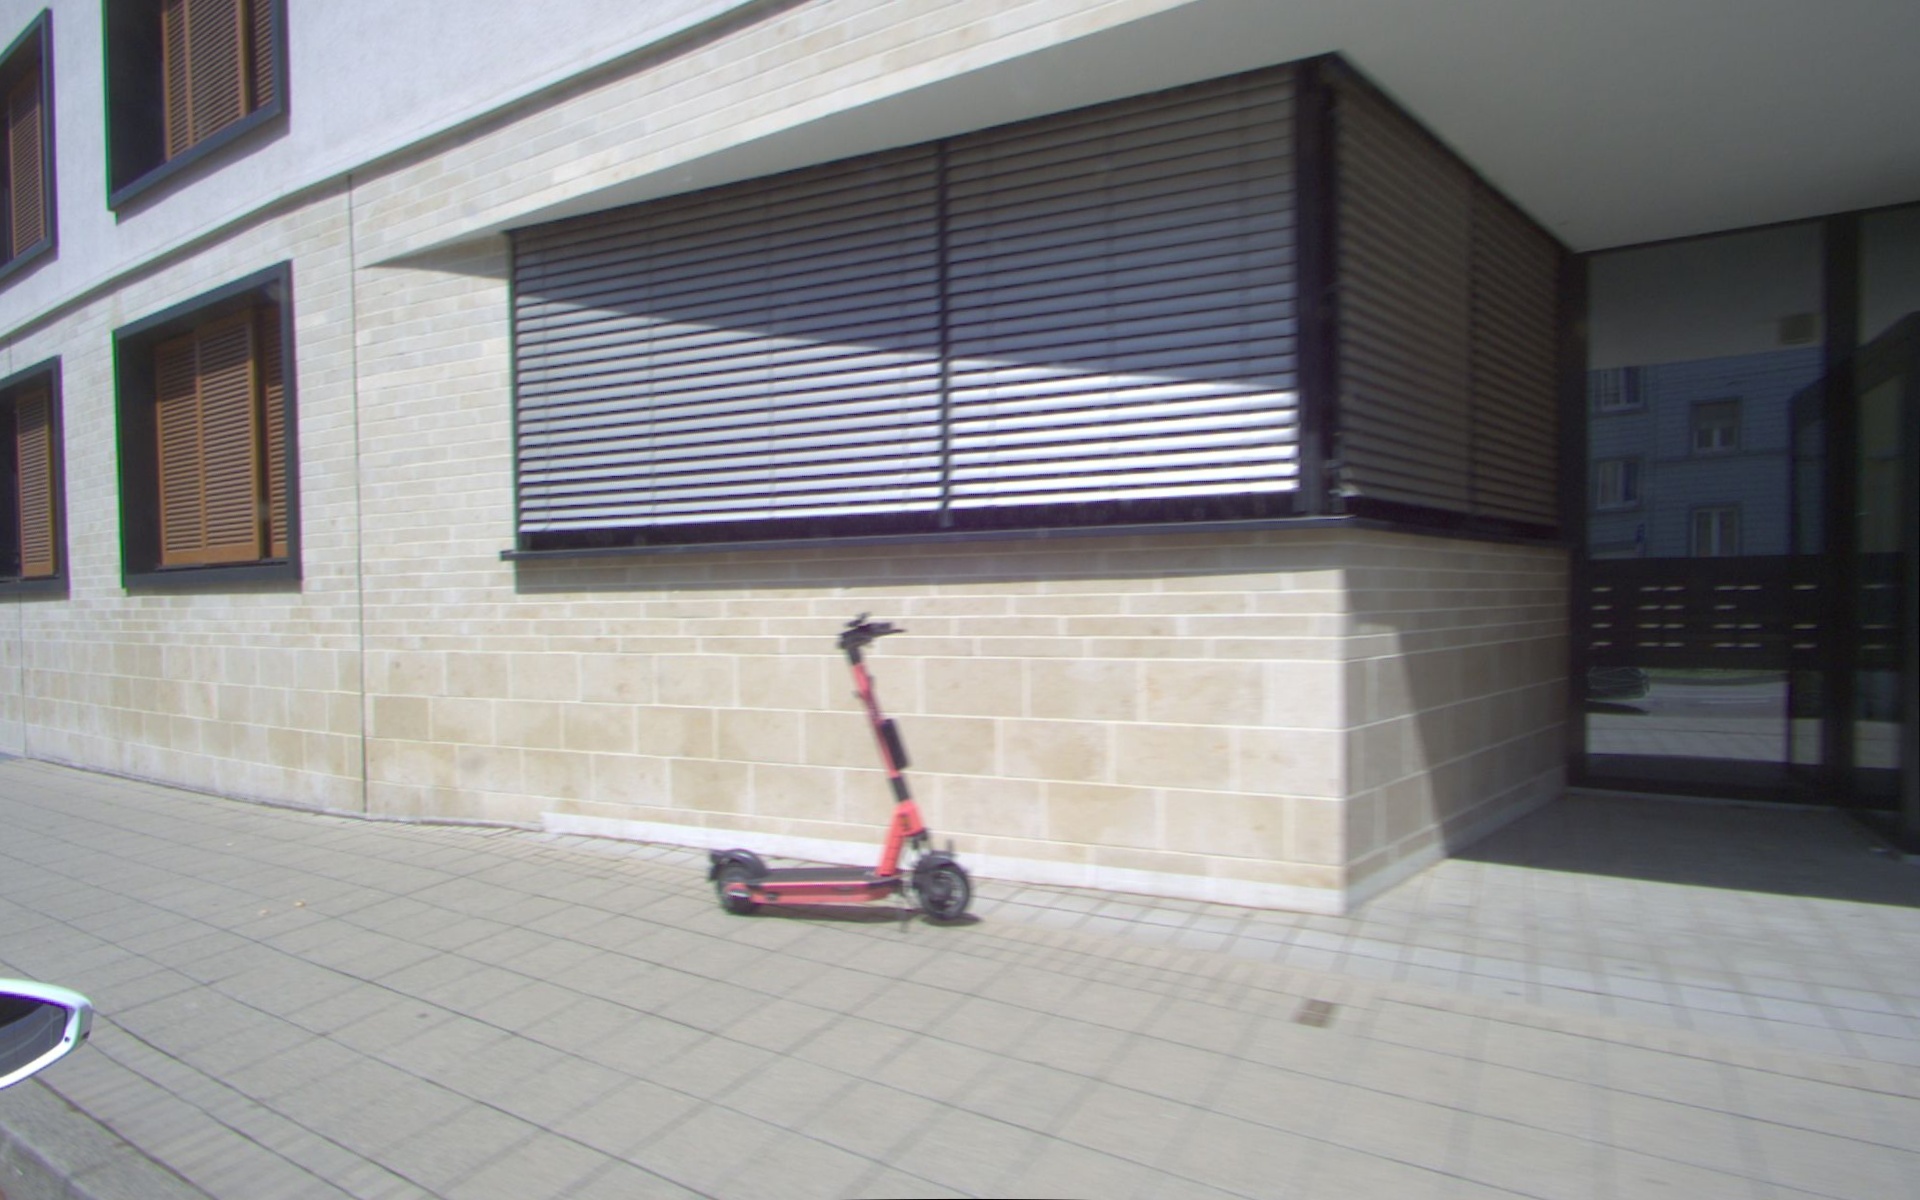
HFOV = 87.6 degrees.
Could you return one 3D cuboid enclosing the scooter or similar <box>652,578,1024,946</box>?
[{"bbox_3d":[-0.487,0.571,4.017,1.345,1.278,0.581,-1,2,24],"label":"scooter or similar"}]
